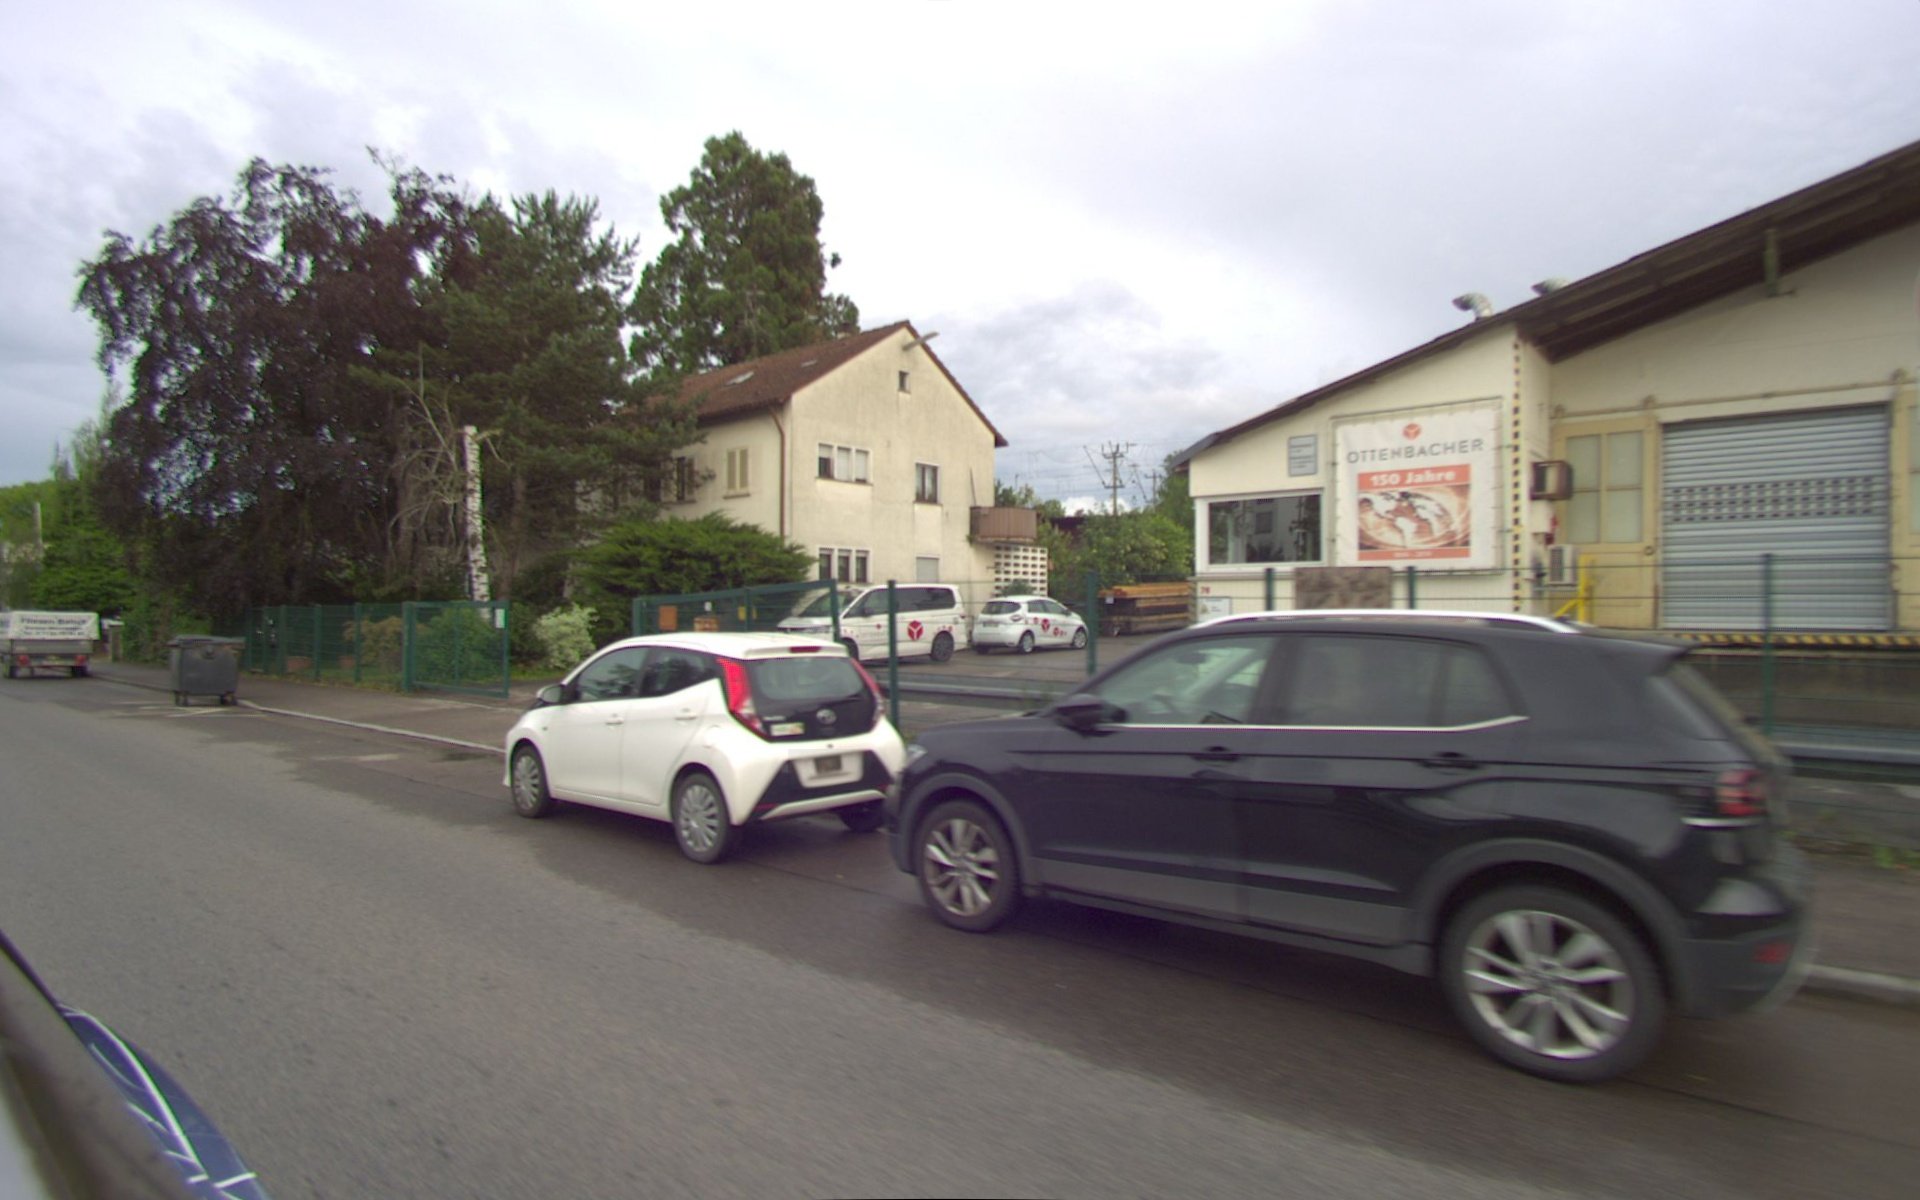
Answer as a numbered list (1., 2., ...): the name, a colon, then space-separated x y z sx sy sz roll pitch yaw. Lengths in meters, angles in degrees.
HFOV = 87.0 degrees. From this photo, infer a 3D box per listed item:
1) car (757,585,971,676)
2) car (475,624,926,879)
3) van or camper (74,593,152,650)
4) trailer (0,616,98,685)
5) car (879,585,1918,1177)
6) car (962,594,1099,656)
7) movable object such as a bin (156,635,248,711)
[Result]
1. car: -2.144 0.628 23.866 2.000 1.871 4.945 -1 0 42
2. car: -2.141 0.950 7.858 3.658 1.520 1.599 -1 -2 41
3. van or camper: -48.164 1.208 57.513 6.145 3.058 2.280 -1 0 40
4. trailer: -26.229 1.391 28.812 4.545 1.779 1.910 -2 -1 41
5. car: 1.604 0.813 4.649 3.913 1.596 1.644 -1 -3 40
6. car: 2.037 0.646 28.432 1.785 1.563 3.944 -1 0 42
7. movable object such as a bin: -14.358 1.354 19.178 1.424 1.320 1.089 -1 0 40
